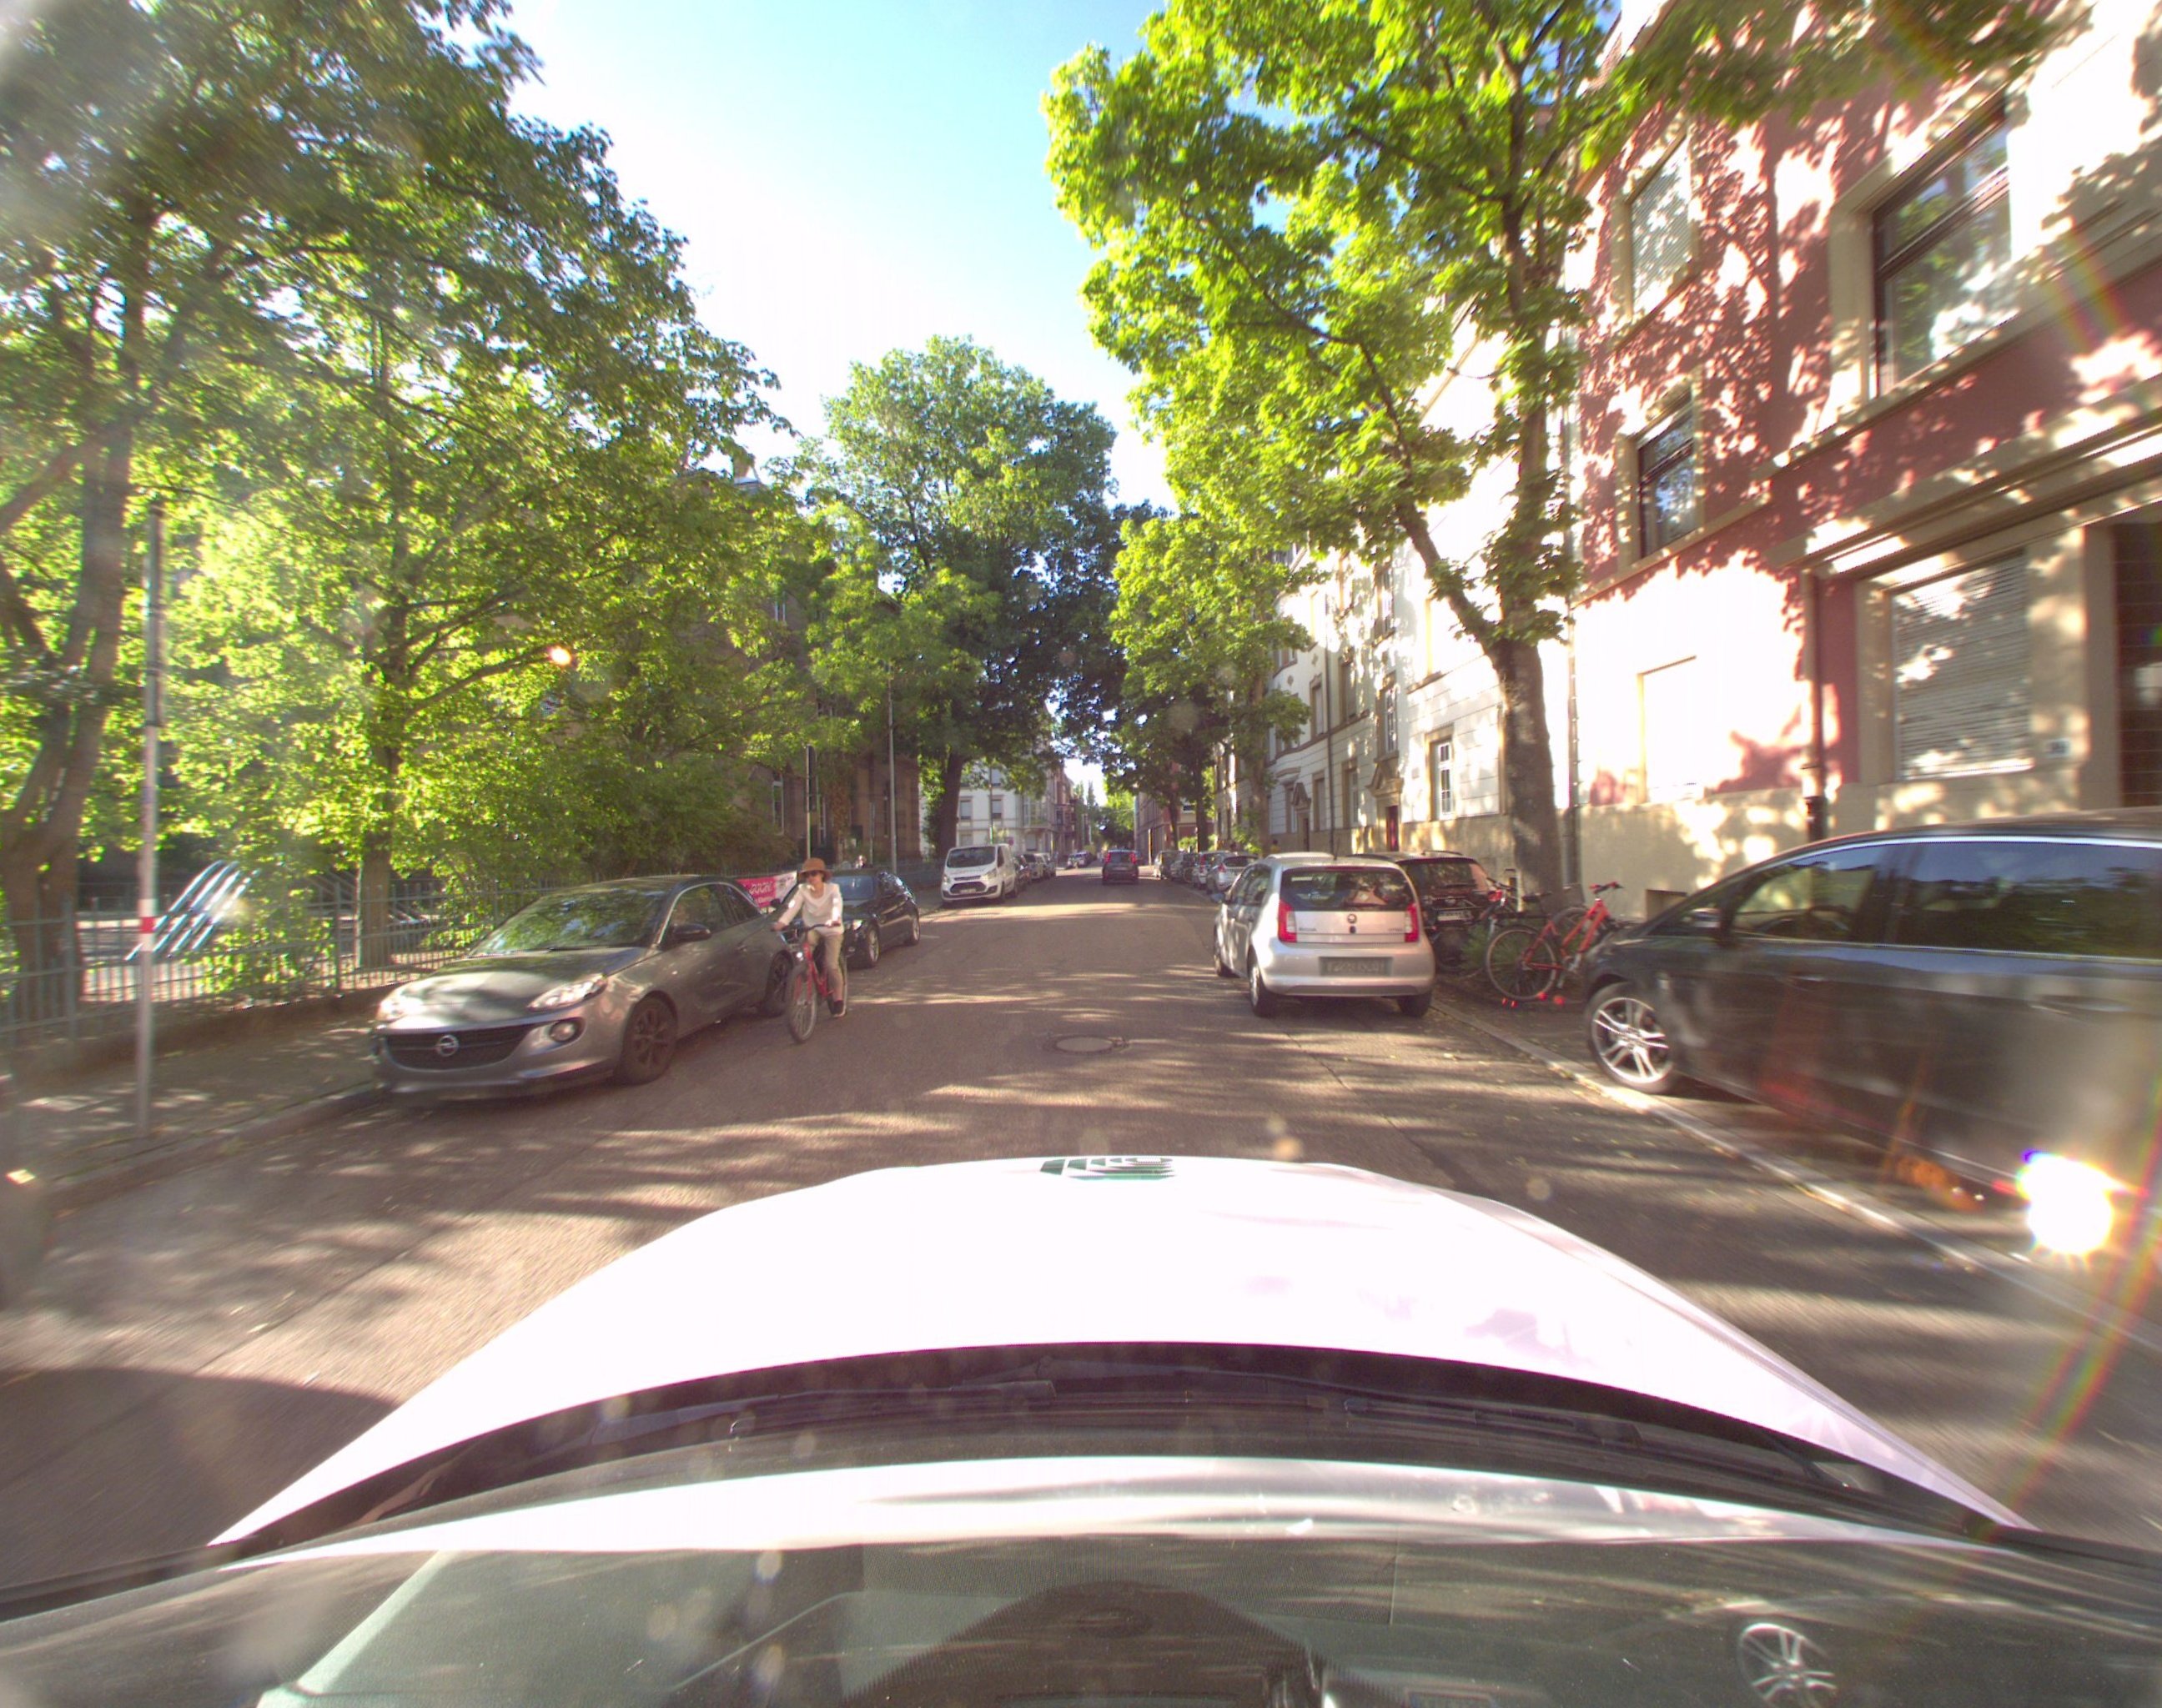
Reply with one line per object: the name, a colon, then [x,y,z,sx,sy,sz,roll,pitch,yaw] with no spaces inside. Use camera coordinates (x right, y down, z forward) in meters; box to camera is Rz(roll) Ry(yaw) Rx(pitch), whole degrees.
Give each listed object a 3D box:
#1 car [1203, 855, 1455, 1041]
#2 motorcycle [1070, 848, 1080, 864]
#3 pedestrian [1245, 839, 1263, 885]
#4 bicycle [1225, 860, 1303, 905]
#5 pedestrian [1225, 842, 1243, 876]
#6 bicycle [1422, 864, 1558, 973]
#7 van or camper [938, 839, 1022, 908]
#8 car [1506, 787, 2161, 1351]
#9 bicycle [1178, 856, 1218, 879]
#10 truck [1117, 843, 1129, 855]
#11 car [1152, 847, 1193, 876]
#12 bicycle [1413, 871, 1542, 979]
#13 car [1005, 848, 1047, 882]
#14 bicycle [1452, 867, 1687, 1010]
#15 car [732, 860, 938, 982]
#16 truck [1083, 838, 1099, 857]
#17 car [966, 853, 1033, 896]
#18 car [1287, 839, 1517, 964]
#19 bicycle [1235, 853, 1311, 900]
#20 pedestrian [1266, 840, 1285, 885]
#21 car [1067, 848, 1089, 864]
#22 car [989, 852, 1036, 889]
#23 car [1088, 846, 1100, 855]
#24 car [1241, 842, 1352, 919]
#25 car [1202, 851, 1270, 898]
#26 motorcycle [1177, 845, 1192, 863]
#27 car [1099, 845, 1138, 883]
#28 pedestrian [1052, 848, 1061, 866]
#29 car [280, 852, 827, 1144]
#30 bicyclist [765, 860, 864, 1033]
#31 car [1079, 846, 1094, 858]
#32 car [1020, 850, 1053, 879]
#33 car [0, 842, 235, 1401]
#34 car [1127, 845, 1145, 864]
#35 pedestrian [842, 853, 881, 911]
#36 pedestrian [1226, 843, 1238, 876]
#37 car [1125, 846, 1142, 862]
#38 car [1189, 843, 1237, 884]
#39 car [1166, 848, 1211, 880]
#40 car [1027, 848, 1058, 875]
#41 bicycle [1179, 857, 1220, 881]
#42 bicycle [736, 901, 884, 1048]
car: [2.428,0.818,8.945,1.673,1.544,3.801,-1,1,1]
motorcycle: [-0.543,0.182,76.888,0.696,1.460,1.746,-3,0,-7]
pedestrian: [6.572,0.295,30.983,0.517,1.735,0.879,-2,0,3]
bicycle: [4.941,0.759,22.057,1.961,1.073,0.600,-3,0,2]
pedestrian: [7.845,0.244,41.829,0.774,1.694,0.876,-1,0,5]
bicycle: [4.569,0.714,9.128,1.302,1.140,0.328,-3,0,1]
van or camper: [-3.303,0.584,27.750,1.915,1.979,5.463,-5,0,1]
car: [4.215,0.609,3.820,1.879,1.716,4.944,-2,1,1]
bicycle: [5.452,0.623,38.021,1.709,0.949,0.733,-3,0,2]
truck: [7.539,-0.949,146.356,1.986,1.992,4.002,-2,1,2]
car: [5.238,0.412,46.938,1.783,1.551,4.408,-1,0,-1]
bicycle: [4.267,0.758,8.788,1.196,1.075,0.298,-3,0,1]
car: [-2.890,0.551,43.503,1.819,1.554,4.132,-5,0,0]
bicycle: [4.562,0.768,7.676,1.804,1.167,0.569,-4,0,1]
car: [-3.689,0.912,13.219,1.708,1.395,4.780,-5,0,1]
truck: [1.624,-1.094,132.787,2.062,2.925,5.072,-5,0,3]
car: [-3.234,0.770,33.270,1.993,1.457,4.608,-4,0,2]
car: [4.502,0.562,12.222,1.780,1.513,4.461,-1,1,1]
bicycle: [5.529,0.648,23.526,1.961,1.229,0.760,-3,0,2]
pedestrian: [7.364,0.316,30.865,0.593,1.701,0.689,-1,0,3]
car: [-0.285,0.168,80.181,1.789,1.431,3.928,-5,0,3]
car: [-3.153,0.727,38.175,1.596,1.459,4.029,-5,1,2]
car: [2.392,-0.591,148.048,1.954,1.479,3.928,-5,0,3]
car: [4.758,0.527,18.442,1.590,1.488,3.750,-3,0,2]
car: [5.114,0.633,27.341,1.616,1.394,4.160,-2,0,2]
motorcycle: [8.788,-0.009,68.960,1.012,1.404,2.201,-2,3,14]
car: [1.639,0.422,36.608,1.627,1.550,3.264,0,1,0]
pedestrian: [-2.557,0.346,84.590,0.718,1.839,0.629,-1,1,13]
car: [-3.790,0.856,6.917,1.669,1.572,4.155,-5,1,3]
bicyclist: [-2.427,0.815,7.468,0.649,1.509,0.625,-1,0,4]
car: [0.789,-0.285,118.691,1.954,1.479,3.928,-5,0,3]
car: [-2.648,0.602,48.413,1.743,1.474,4.458,-6,1,-4]
car: [-4.055,0.837,0.714,1.774,1.590,4.470,-4,0,2]
car: [5.247,0.023,77.583,1.656,1.669,3.760,-1,1,3]
pedestrian: [-6.026,0.761,22.407,0.877,1.577,0.530,-1,0,2]
pedestrian: [7.946,0.265,42.839,0.488,1.705,0.757,0,0,1]
car: [5.245,-0.004,82.081,1.656,1.505,3.760,-1,1,3]
car: [5.341,0.351,33.272,1.514,1.510,3.546,-2,0,2]
car: [5.402,0.458,41.443,1.607,1.478,3.867,-2,1,-2]
car: [-2.492,0.488,53.513,1.690,1.550,3.920,-5,1,1]
bicycle: [5.345,0.661,36.800,1.763,1.039,0.606,-1,0,2]
bicycle: [-2.399,1.031,7.436,0.662,1.077,1.687,-1,0,4]
